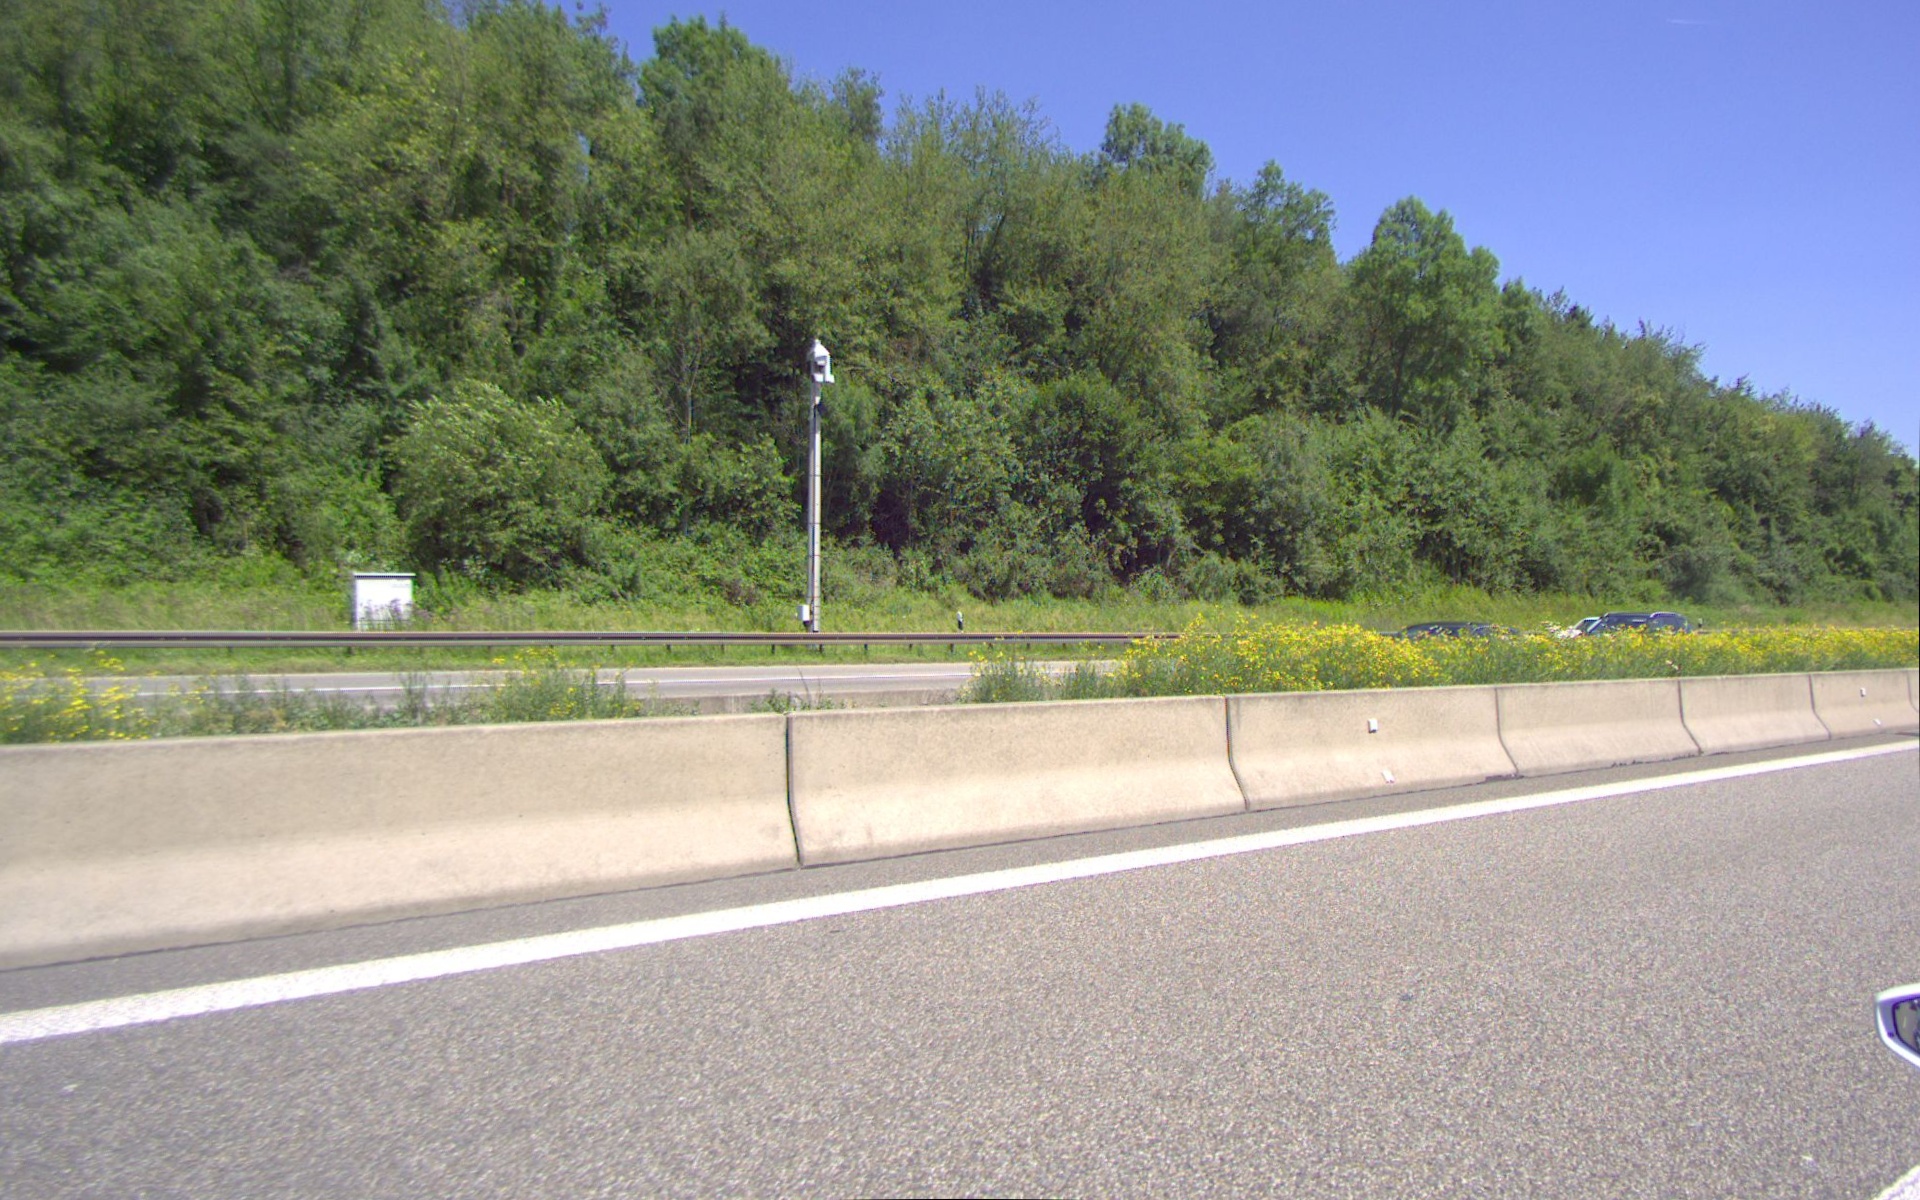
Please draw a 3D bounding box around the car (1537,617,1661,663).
[{"bbox_3d":[21.953,1.367,34.478,4.125,1.461,1.983,2,-1,-31],"label":"car"}]

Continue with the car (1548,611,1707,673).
[{"bbox_3d":[17.685,1.109,26.588,3.954,1.506,1.984,2,-1,-31],"label":"car"}]
